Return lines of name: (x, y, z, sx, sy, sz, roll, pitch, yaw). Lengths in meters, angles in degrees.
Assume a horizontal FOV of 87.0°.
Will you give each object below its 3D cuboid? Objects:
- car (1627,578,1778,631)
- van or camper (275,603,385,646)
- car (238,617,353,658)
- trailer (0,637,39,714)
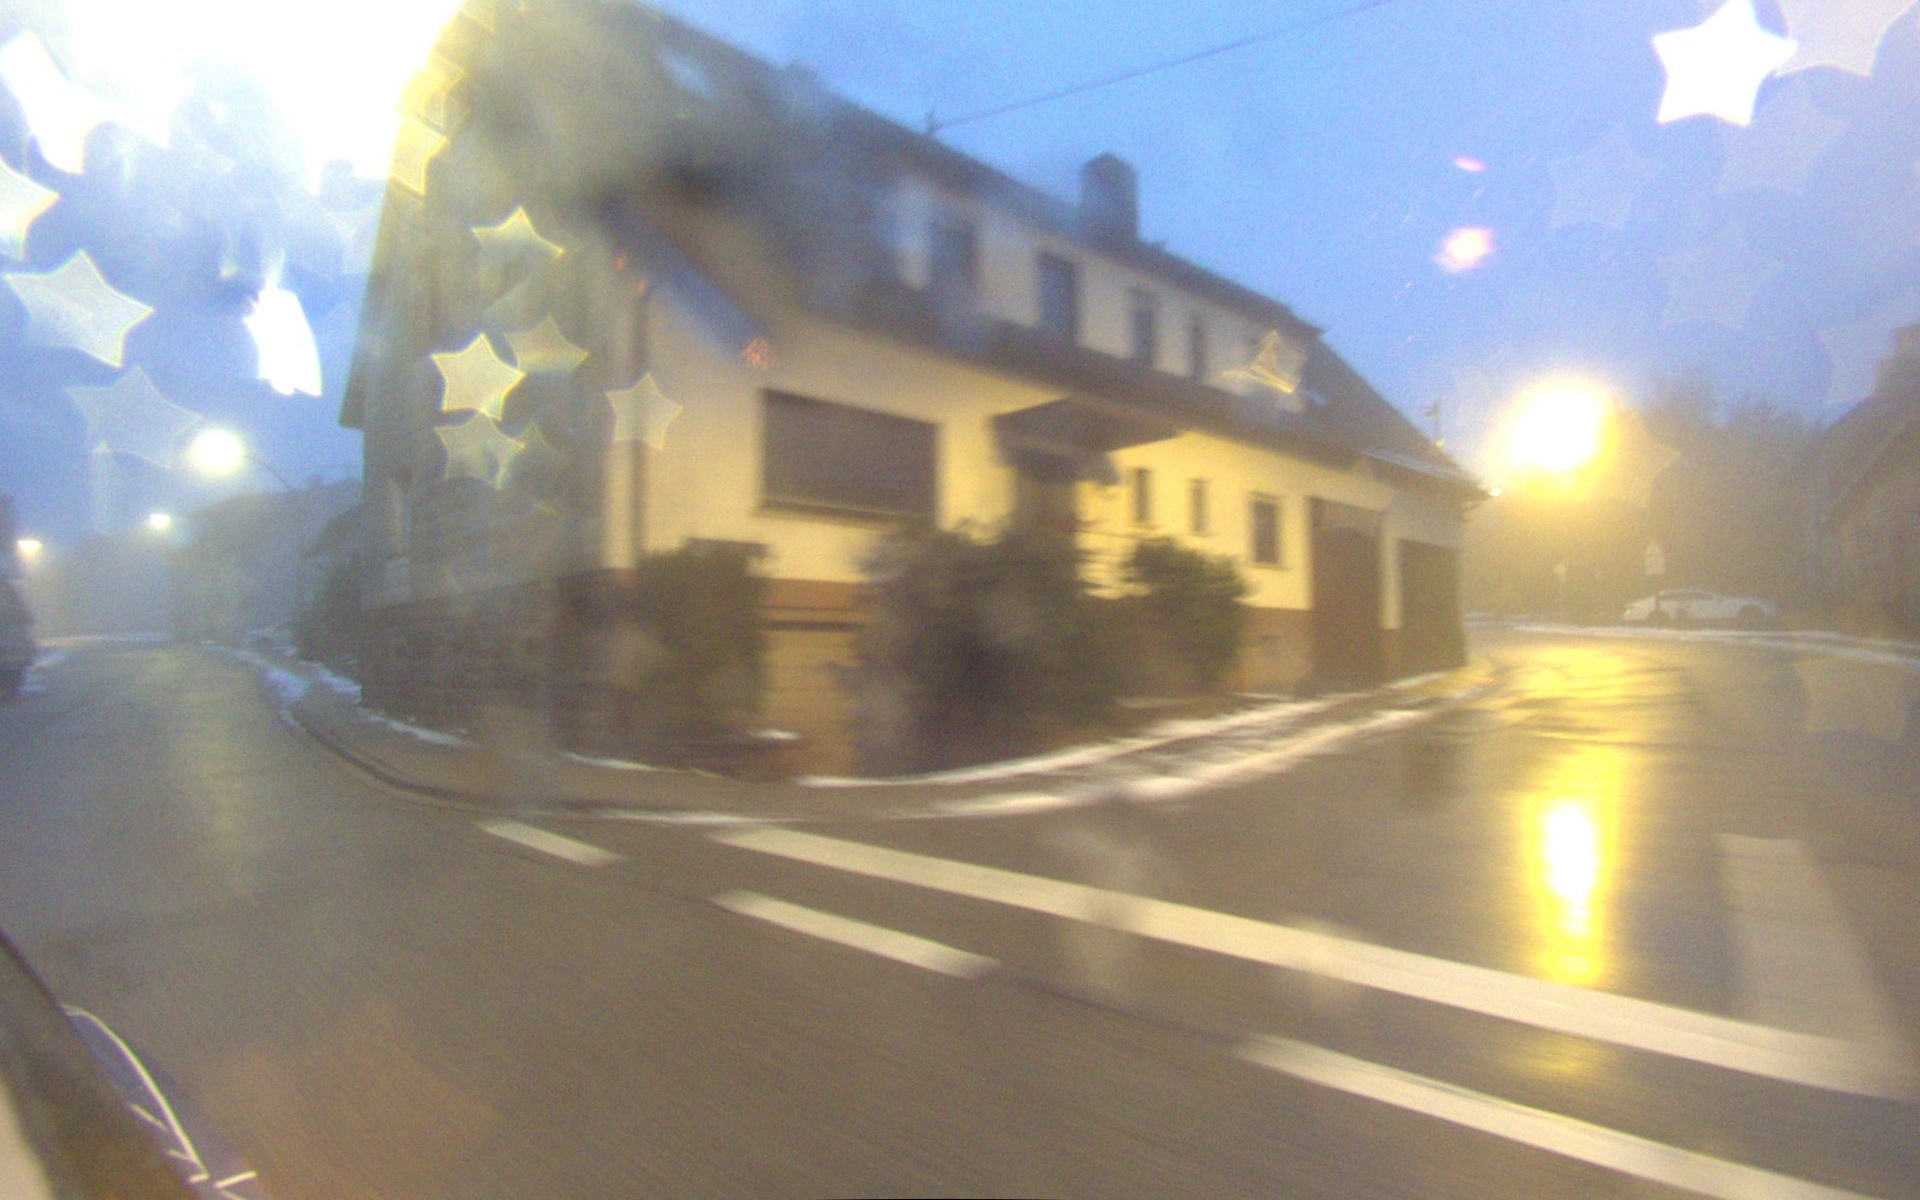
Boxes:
car: (29.502, 0.200, 40.427, 4.657, 1.818, 1.978, -4, -2, 33)
van or camper: (-37.664, 1.496, 60.705, 2.133, 2.467, 5.260, -1, -2, 25)
car: (-33.934, 1.858, 51.757, 4.731, 1.679, 1.894, -4, 3, -39)
trailer: (-19.284, 1.451, 19.175, 1.966, 1.398, 4.744, 0, -1, -33)
